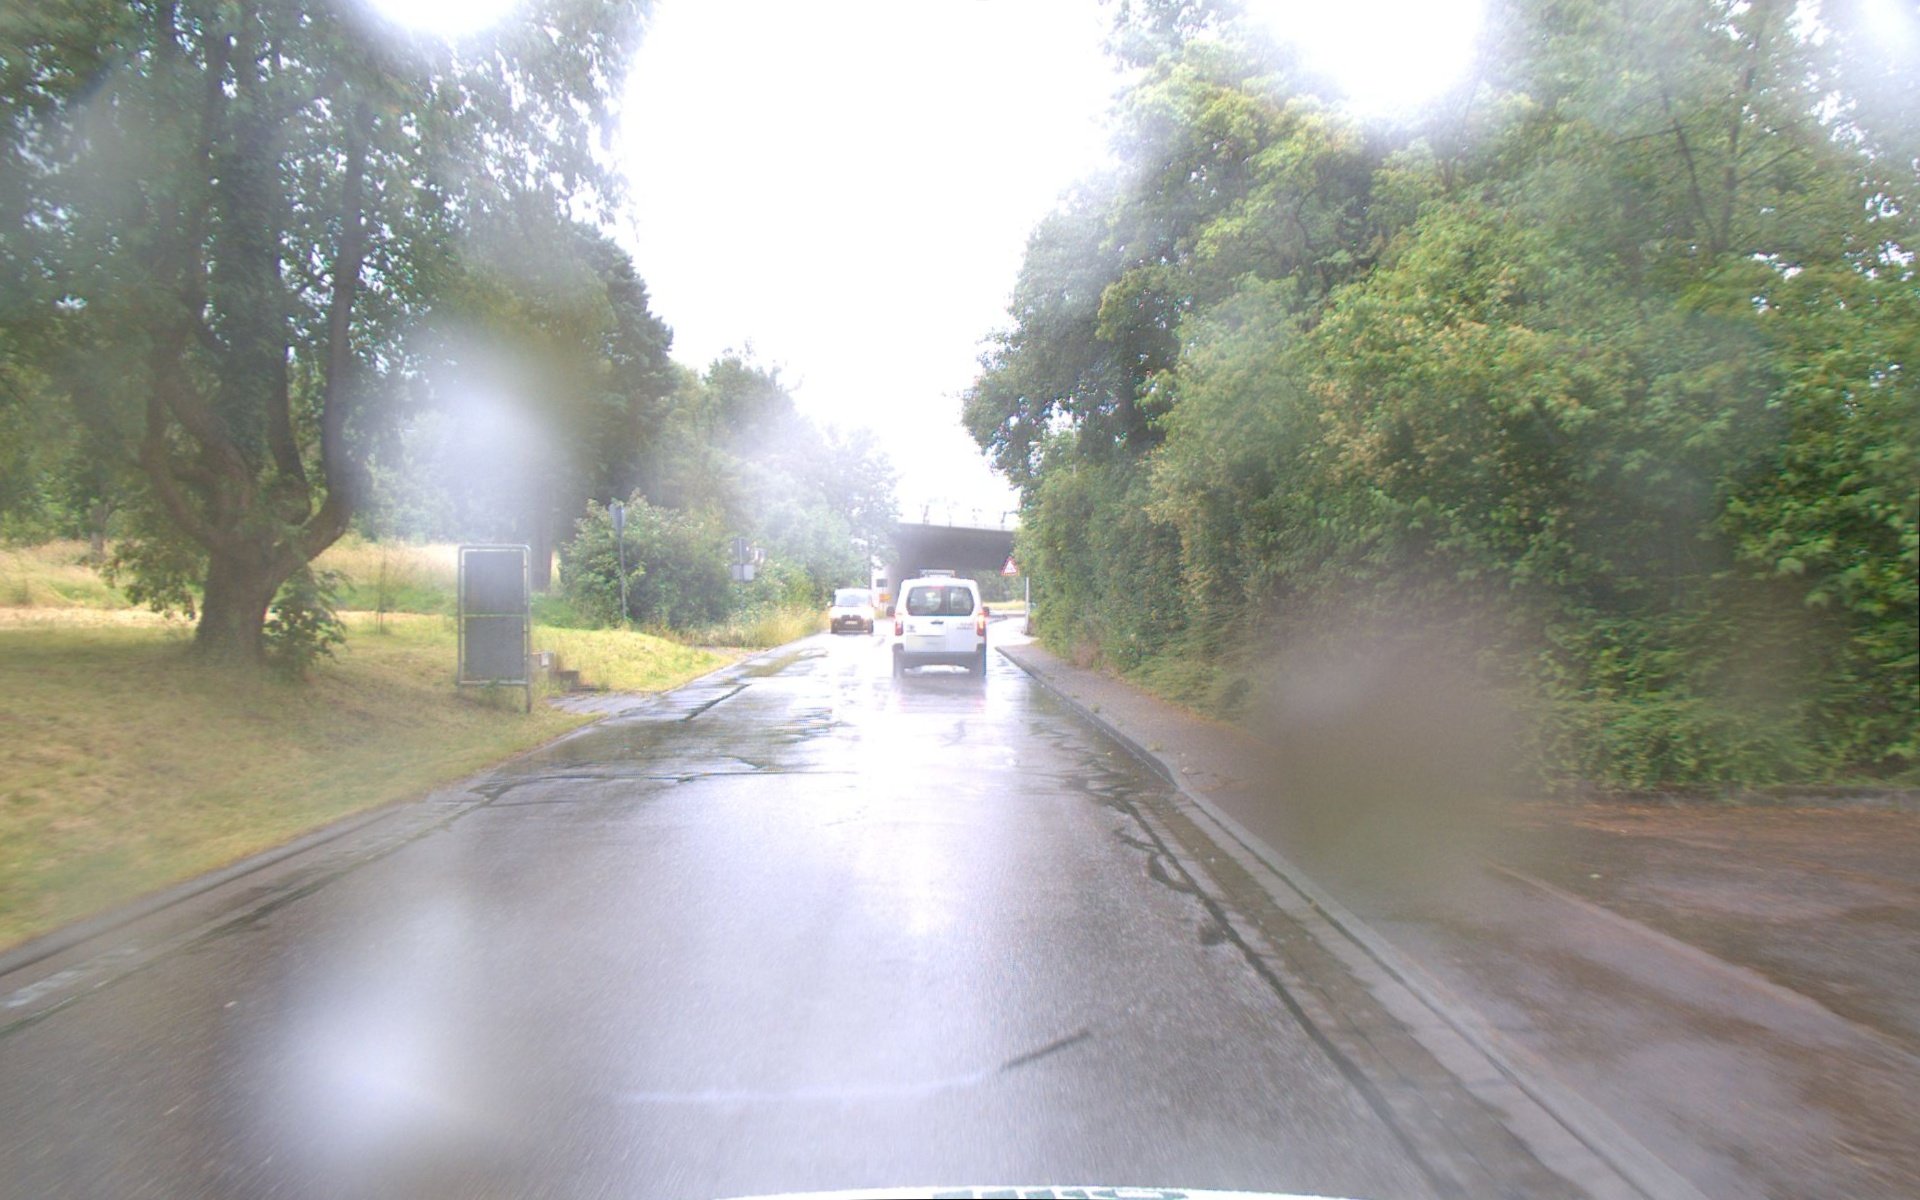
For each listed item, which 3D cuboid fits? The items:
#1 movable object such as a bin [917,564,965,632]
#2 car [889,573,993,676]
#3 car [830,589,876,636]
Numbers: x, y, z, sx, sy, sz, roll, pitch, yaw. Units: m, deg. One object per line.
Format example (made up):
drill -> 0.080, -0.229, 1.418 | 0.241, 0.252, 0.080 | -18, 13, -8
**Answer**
movable object such as a bin -> -0.719, -0.062, 65.488 | 1.725, 2.592, 4.239 | 1, 0, 1
car -> -0.346, 0.413, 31.958 | 1.858, 1.838, 4.000 | -1, 1, 0
car -> -4.415, 0.503, 68.627 | 1.787, 1.864, 4.305 | 1, 0, -2
